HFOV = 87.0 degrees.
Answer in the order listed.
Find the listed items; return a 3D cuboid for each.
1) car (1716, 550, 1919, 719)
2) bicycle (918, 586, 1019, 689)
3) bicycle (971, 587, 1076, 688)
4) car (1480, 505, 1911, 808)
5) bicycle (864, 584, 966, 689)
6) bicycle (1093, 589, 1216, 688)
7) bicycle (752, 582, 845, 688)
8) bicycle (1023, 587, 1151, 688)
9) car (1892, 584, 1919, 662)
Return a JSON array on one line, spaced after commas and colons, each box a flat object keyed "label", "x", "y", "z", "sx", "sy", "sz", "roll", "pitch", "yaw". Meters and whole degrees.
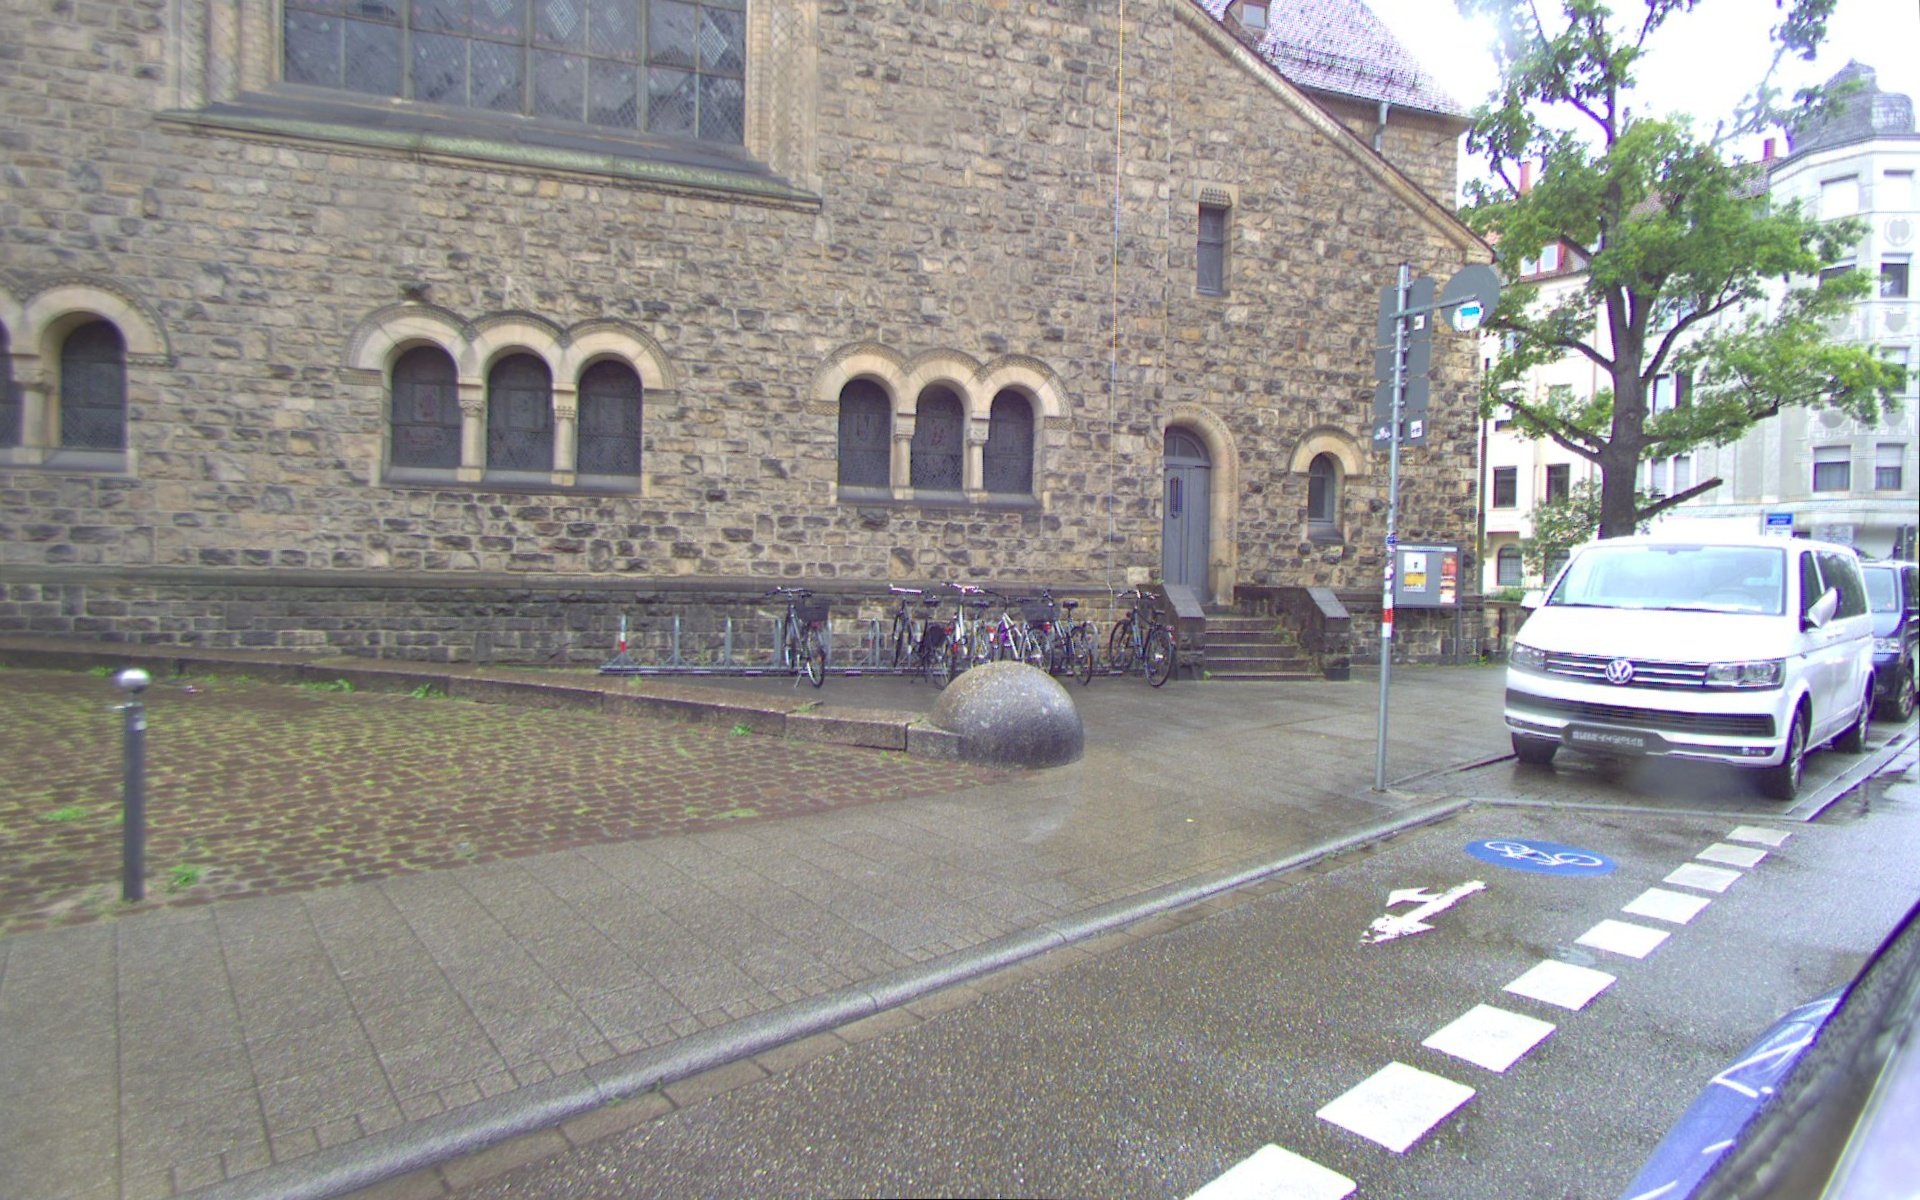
[{"label": "car", "x": 11.630, "y": 0.346, "z": 13.275, "sx": 4.220, "sy": 1.869, "sz": 1.836, "roll": 0, "pitch": 2, "yaw": -41}, {"label": "bicycle", "x": 0.060, "y": 0.404, "z": 12.066, "sx": 0.569, "sy": 1.073, "sz": 1.933, "roll": 1, "pitch": 2, "yaw": -19}, {"label": "bicycle", "x": 0.731, "y": 0.414, "z": 12.356, "sx": 0.569, "sy": 1.073, "sz": 1.933, "roll": 1, "pitch": 2, "yaw": -19}, {"label": "car", "x": 6.693, "y": 0.323, "z": 8.931, "sx": 5.180, "sy": 1.946, "sz": 1.908, "roll": 0, "pitch": 2, "yaw": -41}, {"label": "bicycle", "x": -0.566, "y": 0.378, "z": 11.834, "sx": 0.569, "sy": 1.073, "sz": 1.933, "roll": 1, "pitch": 2, "yaw": -21}, {"label": "bicycle", "x": 2.381, "y": 0.437, "z": 12.668, "sx": 0.593, "sy": 1.080, "sz": 1.987, "roll": 1, "pitch": 2, "yaw": -18}, {"label": "bicycle", "x": -1.887, "y": 0.355, "z": 11.590, "sx": 0.564, "sy": 1.062, "sz": 2.014, "roll": 1, "pitch": 2, "yaw": -23}, {"label": "bicycle", "x": 1.501, "y": 0.408, "z": 12.449, "sx": 0.663, "sy": 1.073, "sz": 2.161, "roll": 1, "pitch": 2, "yaw": -19}, {"label": "car", "x": 21.369, "y": 0.488, "z": 21.629, "sx": 3.850, "sy": 1.568, "sz": 1.674, "roll": 0, "pitch": 2, "yaw": -41}]
